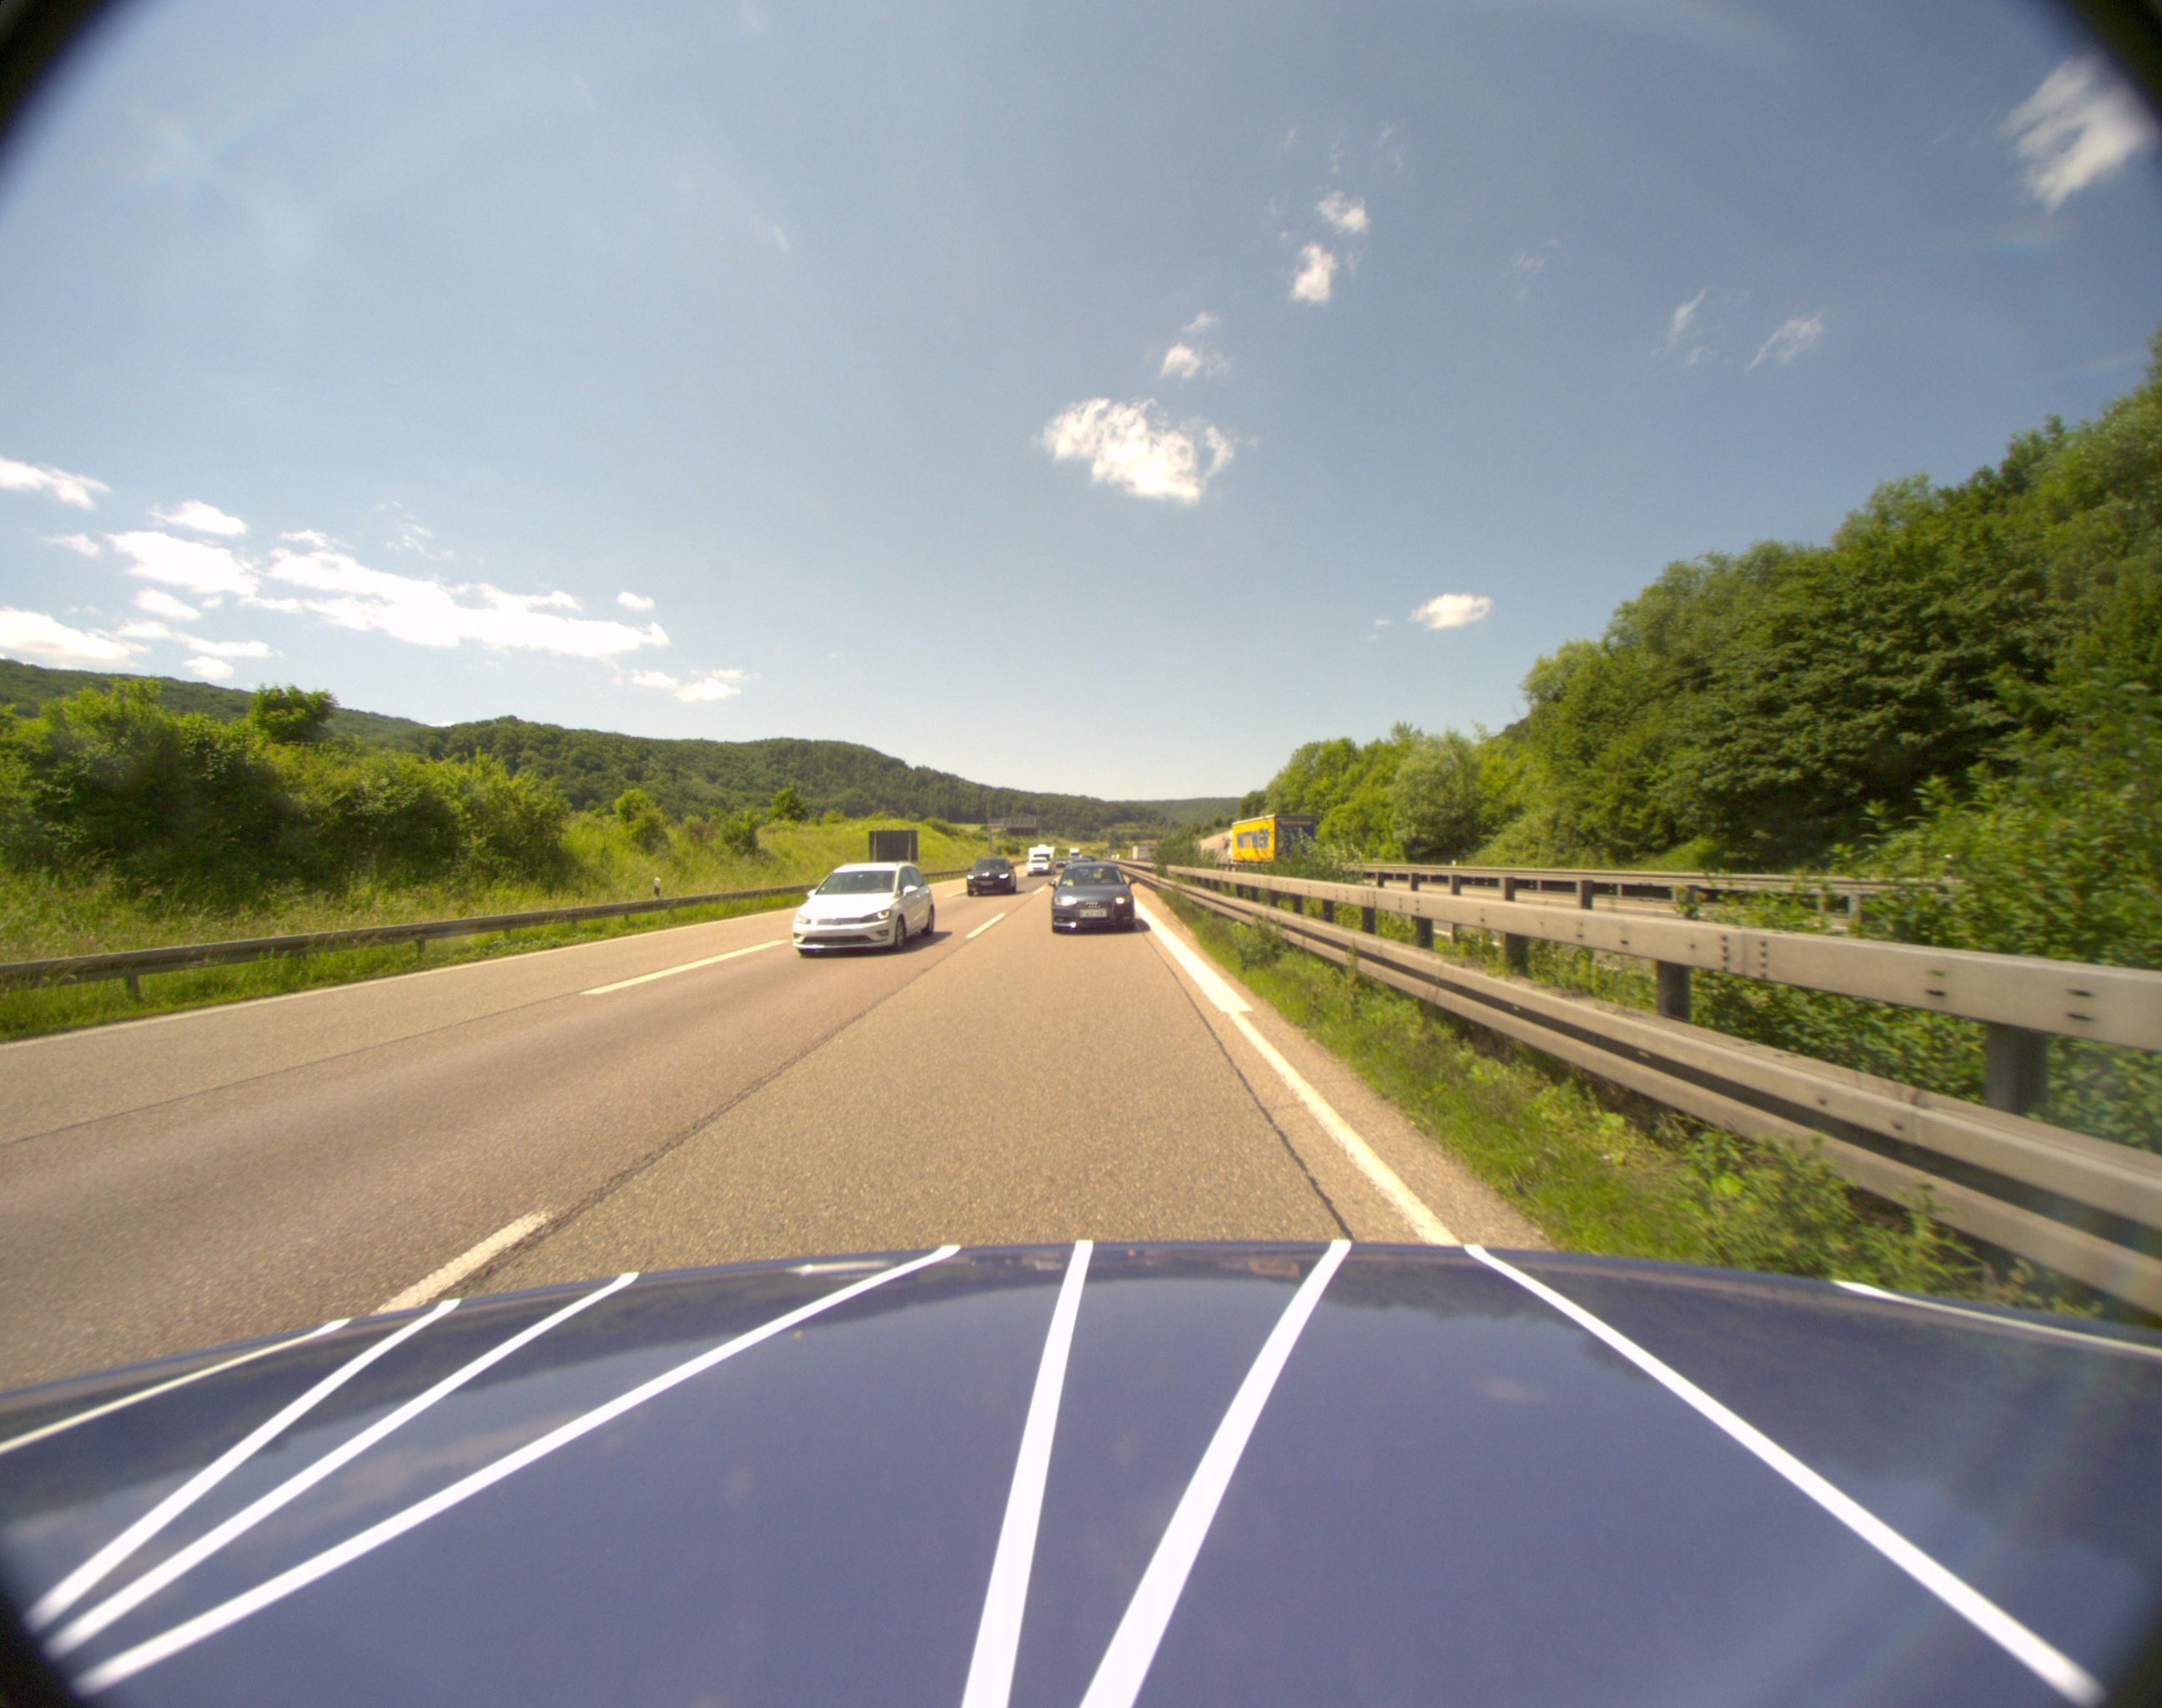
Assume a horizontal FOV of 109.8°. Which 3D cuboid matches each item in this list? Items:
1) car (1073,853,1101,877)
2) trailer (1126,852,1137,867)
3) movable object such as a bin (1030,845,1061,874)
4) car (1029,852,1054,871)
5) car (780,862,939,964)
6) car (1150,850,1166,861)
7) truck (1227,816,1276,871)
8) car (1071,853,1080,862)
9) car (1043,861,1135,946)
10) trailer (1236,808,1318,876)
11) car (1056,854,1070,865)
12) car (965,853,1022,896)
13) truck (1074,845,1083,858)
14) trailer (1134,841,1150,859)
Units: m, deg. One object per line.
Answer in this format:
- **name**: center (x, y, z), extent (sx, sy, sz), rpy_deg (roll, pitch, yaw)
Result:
- **car**: center (0.476, 0.754, 52.925), extent (1.835, 1.586, 4.000), rpy_deg (-1, 0, 2)
- **trailer**: center (15.626, 1.647, 234.026), extent (2.834, 4.123, 10.405), rpy_deg (-2, 0, 1)
- **movable object such as a bin**: center (-3.382, 0.499, 73.536), extent (2.481, 2.616, 6.709), rpy_deg (-2, 0, 1)
- **car**: center (-3.421, 0.606, 66.707), extent (1.821, 1.574, 4.000), rpy_deg (-1, 0, 1)
- **car**: center (-3.975, 0.974, 14.357), extent (1.777, 1.532, 4.054), rpy_deg (-2, 0, 0)
- **car**: center (10.423, 0.157, 103.420), extent (1.874, 1.412, 4.433), rpy_deg (0, 0, 2)
- **truck**: center (13.282, -0.788, 59.643), extent (2.554, 4.066, 5.850), rpy_deg (-1, 0, 1)
- **car**: center (-1.206, 0.773, 168.794), extent (1.998, 2.002, 4.000), rpy_deg (-2, 1, 0)
- **car**: center (0.285, 0.910, 15.638), extent (1.591, 1.401, 4.001), rpy_deg (-2, 0, 4)
- **trailer**: center (13.083, -0.753, 52.057), extent (2.587, 3.982, 12.601), rpy_deg (-2, 0, 1)
- **car**: center (-2.552, 0.775, 107.258), extent (1.711, 1.542, 4.000), rpy_deg (-1, 0, 1)
- **car**: center (-3.811, 0.852, 33.767), extent (1.893, 1.761, 4.172), rpy_deg (-1, 0, 2)
- **truck**: center (-0.615, -0.742, 217.151), extent (2.336, 3.623, 7.006), rpy_deg (-2, 0, 1)
- **trailer**: center (14.389, -0.900, 180.435), extent (2.863, 4.052, 11.262), rpy_deg (0, 0, 0)
